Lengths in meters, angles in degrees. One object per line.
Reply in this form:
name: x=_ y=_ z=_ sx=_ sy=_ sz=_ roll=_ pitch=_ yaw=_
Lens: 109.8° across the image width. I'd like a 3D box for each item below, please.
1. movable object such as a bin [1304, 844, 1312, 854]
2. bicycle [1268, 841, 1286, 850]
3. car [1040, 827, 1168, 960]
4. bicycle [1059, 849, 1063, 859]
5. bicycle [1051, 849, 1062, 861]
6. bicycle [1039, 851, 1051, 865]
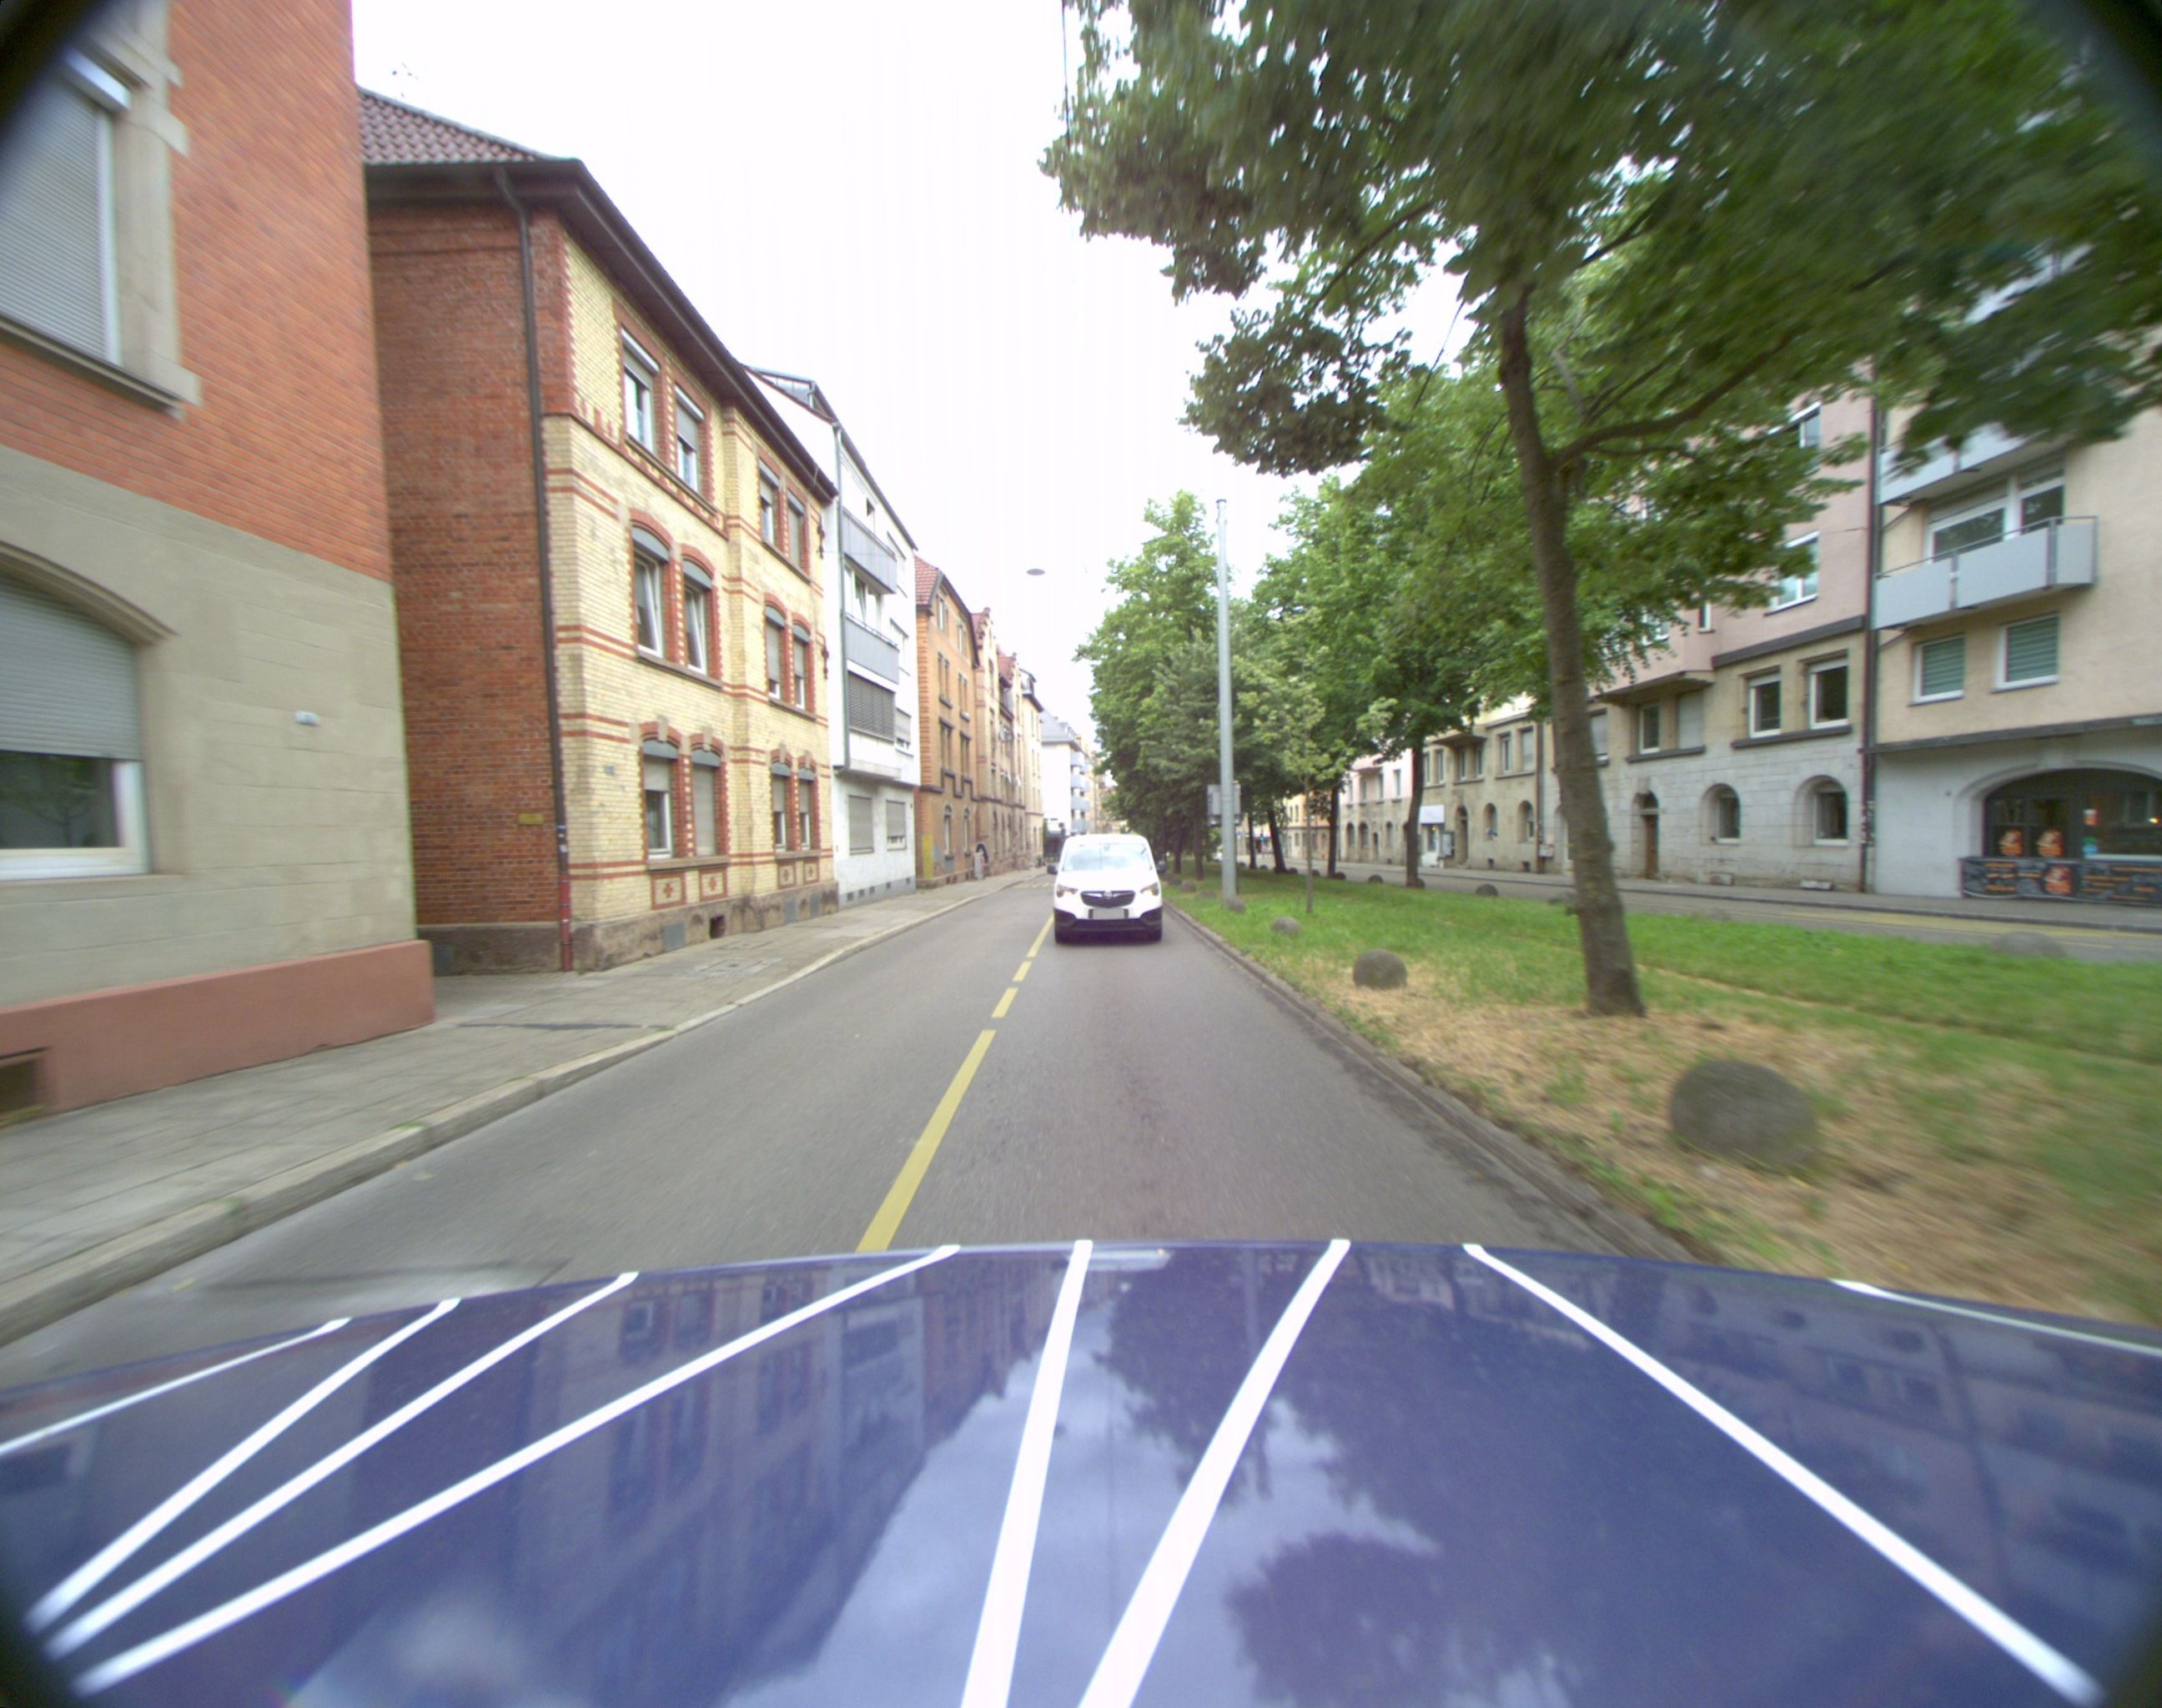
movable object such as a bin: x=21.412 y=-0.470 z=71.587 sx=0.513 sy=0.921 sz=0.779 roll=-2 pitch=1 yaw=5
bicycle: x=28.745 y=-1.240 z=111.498 sx=2.344 sy=1.094 sz=0.775 roll=-2 pitch=1 yaw=24
car: x=0.529 y=0.516 z=12.775 sx=1.745 sy=1.831 sz=4.344 roll=-1 pitch=1 yaw=6
bicycle: x=-2.563 y=0.008 z=96.633 sx=0.400 sy=1.197 sz=1.284 roll=-3 pitch=1 yaw=-2
bicycle: x=-2.460 y=0.126 z=76.415 sx=0.683 sy=1.142 sz=2.941 roll=-1 pitch=-1 yaw=5
bicycle: x=-3.071 y=0.340 z=65.500 sx=0.683 sy=1.143 sz=2.484 roll=-1 pitch=1 yaw=5
